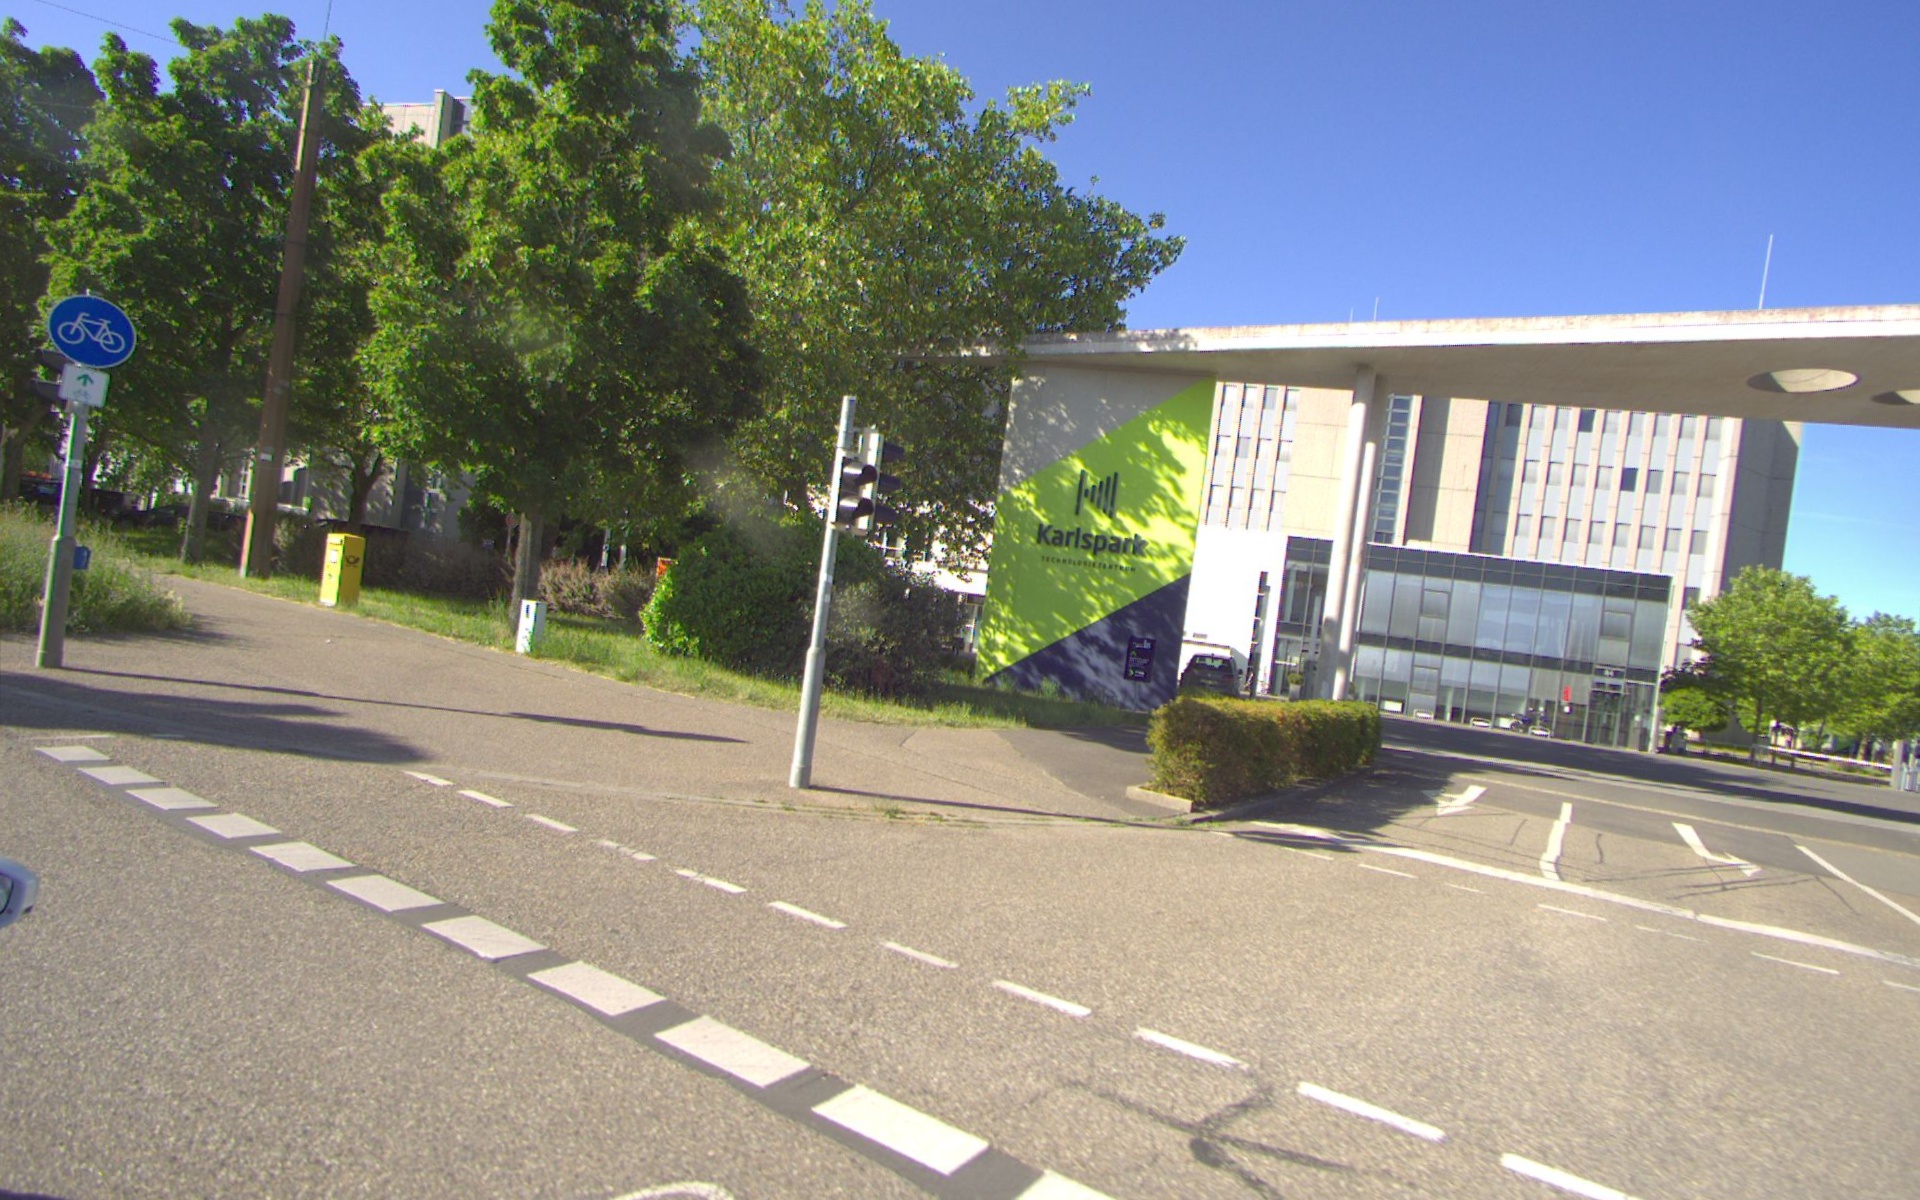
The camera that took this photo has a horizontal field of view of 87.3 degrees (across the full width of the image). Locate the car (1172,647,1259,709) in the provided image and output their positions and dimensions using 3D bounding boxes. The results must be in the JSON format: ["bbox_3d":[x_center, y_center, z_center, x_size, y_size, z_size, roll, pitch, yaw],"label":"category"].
[{"bbox_3d":[8.131,2.456,31.747,1.918,1.596,4.000,7,-2,23],"label":"car"}]

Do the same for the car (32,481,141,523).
[{"bbox_3d":[-47.763,-5.347,55.107,3.947,1.531,1.989,8,0,-23],"label":"car"}]

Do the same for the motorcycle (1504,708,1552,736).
[{"bbox_3d":[25.953,5.577,46.001,1.701,0.959,0.653,7,0,18],"label":"motorcycle"}]

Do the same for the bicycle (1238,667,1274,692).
[{"bbox_3d":[14.678,3.950,49.911,1.591,1.016,0.566,7,0,17],"label":"bicycle"}]

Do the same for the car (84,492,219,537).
[{"bbox_3d":[-39.220,-4.119,48.973,4.626,1.343,2.080,8,-1,-24],"label":"car"}]
